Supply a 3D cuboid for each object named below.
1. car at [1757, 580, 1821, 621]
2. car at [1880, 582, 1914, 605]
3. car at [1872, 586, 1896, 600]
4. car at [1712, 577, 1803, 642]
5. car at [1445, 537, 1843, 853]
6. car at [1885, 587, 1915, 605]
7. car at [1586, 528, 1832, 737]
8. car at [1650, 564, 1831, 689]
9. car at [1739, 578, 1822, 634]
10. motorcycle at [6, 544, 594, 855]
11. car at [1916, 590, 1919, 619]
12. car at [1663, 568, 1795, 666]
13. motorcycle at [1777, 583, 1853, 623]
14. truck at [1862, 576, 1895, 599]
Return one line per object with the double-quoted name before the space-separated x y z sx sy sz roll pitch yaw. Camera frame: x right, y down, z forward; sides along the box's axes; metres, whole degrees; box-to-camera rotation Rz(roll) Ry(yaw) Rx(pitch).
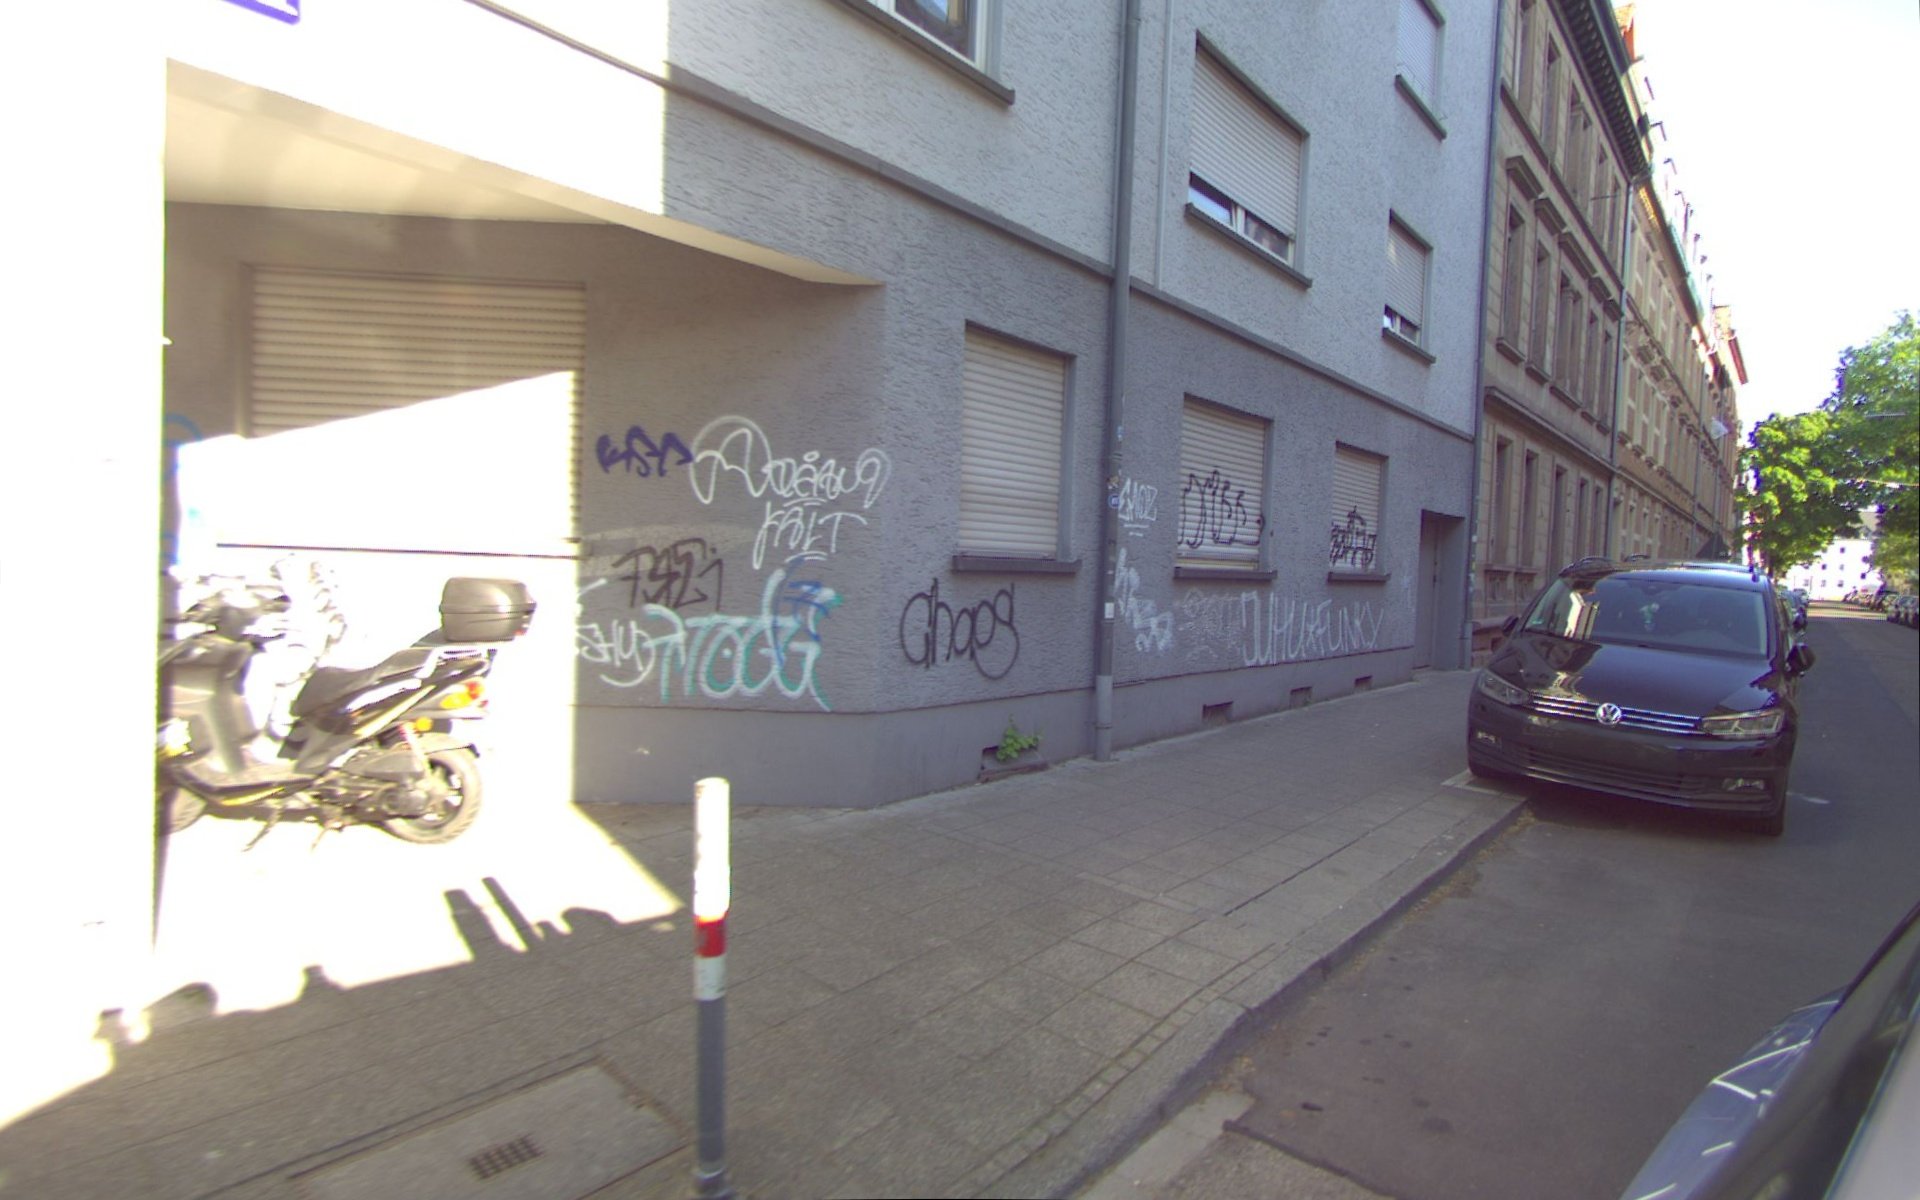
"car" 32.437 -0.011 39.551 1.776 1.414 4.253 4 3 41
"car" 89.064 -0.652 96.236 1.993 1.980 4.968 7 5 40
"car" 102.236 -0.755 111.982 1.749 1.491 3.941 3 2 40
"car" 22.194 0.206 28.132 1.720 1.497 4.024 9 7 39
"car" 5.332 0.428 7.696 1.899 1.659 4.328 4 4 40
"car" 85.530 -0.379 92.148 1.726 1.481 3.788 6 4 40
"car" 8.691 0.249 11.609 1.753 1.807 4.655 8 5 40
"car" 12.100 0.329 15.584 1.755 1.469 4.222 10 7 41
"car" 25.613 0.141 31.648 1.752 1.462 4.012 8 6 38
"motorcycle" -2.838 0.402 4.547 2.115 1.241 0.744 1 5 -1
"car" 44.623 0.223 45.731 1.642 1.472 3.784 7 5 39
"car" 15.379 0.265 20.167 1.753 1.535 4.380 10 7 39
"motorcycle" 35.121 0.105 41.599 2.194 1.556 0.886 1 1 16
"truck" 113.643 -1.540 125.287 2.386 2.689 6.994 4 3 39
